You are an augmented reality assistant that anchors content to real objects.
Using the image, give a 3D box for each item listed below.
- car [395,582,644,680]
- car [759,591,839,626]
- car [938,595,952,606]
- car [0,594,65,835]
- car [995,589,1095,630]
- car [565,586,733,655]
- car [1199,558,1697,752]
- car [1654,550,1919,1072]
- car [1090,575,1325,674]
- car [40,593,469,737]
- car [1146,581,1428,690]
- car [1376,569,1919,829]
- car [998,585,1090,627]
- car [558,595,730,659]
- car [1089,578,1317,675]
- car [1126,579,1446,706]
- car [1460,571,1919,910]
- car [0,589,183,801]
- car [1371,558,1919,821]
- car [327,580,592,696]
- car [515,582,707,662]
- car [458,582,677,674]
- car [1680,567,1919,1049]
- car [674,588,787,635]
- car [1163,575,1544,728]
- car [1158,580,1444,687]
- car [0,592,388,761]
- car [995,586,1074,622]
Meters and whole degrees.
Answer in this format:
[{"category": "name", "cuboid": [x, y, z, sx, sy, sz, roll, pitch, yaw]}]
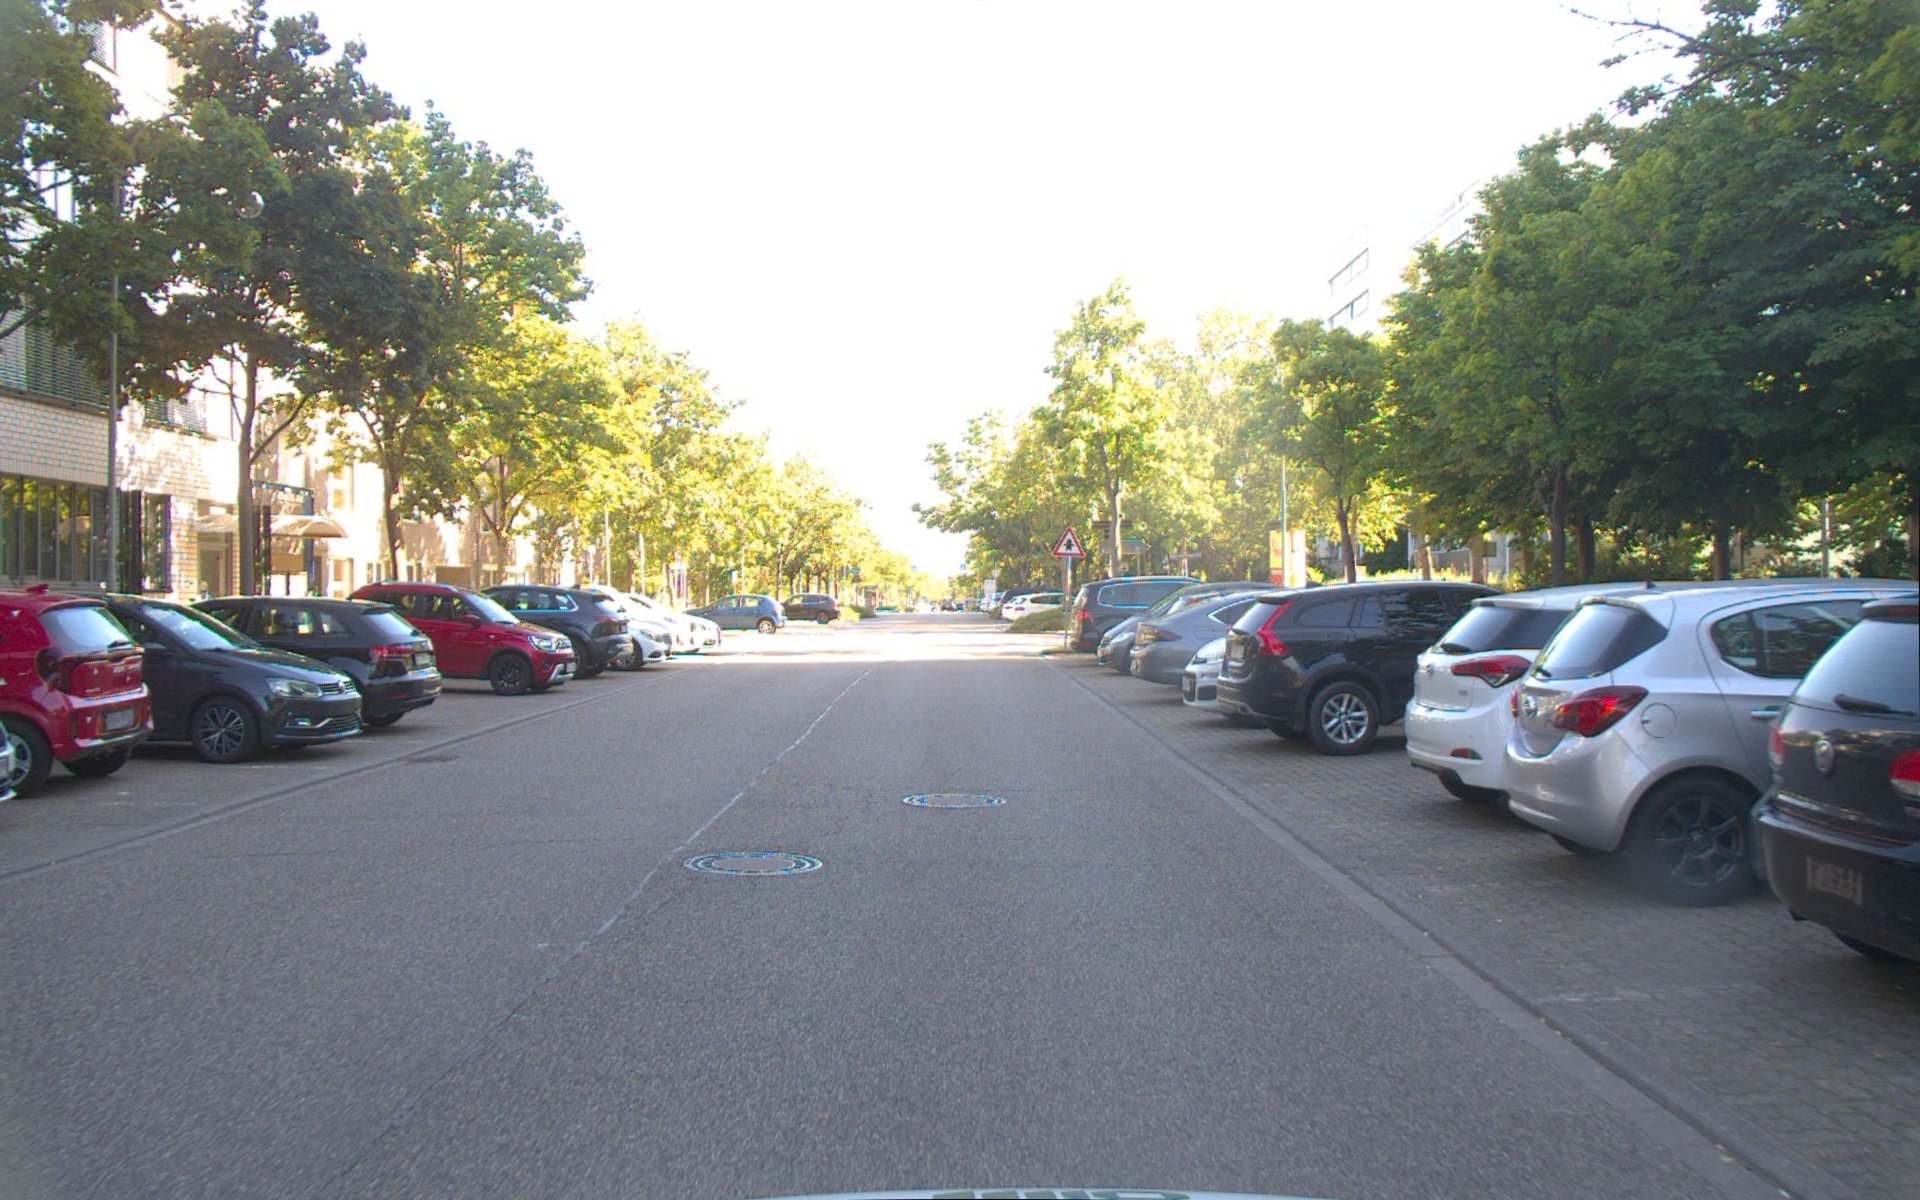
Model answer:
[{"category": "car", "cuboid": [-7.784, 0.554, 29.468, 3.904, 1.614, 1.765, -1, -1, 2]}, {"category": "car", "cuboid": [-8.186, 0.429, 84.480, 3.906, 1.713, 2.000, -1, 0, -1]}, {"category": "car", "cuboid": [-2.214, 0.082, 243.717, 1.894, 1.625, 4.365, -1, 0, -1]}, {"category": "car", "cuboid": [-7.896, 0.703, 10.177, 3.789, 1.482, 1.753, 1, 1, -4]}, {"category": "car", "cuboid": [3.491, 0.379, 68.422, 3.910, 1.653, 1.998, 0, 0, -6]}, {"category": "car", "cuboid": [-7.579, 0.486, 40.560, 3.815, 1.640, 1.857, 0, 0, -4]}, {"category": "car", "cuboid": [4.549, 0.489, 15.872, 4.163, 1.581, 1.919, -2, 0, -2]}, {"category": "car", "cuboid": [4.729, 0.561, 5.740, 3.803, 1.553, 1.895, -2, -1, -1]}, {"category": "car", "cuboid": [4.471, 0.433, 30.243, 3.964, 1.609, 1.640, -2, 0, -4]}, {"category": "car", "cuboid": [-7.507, 0.677, 17.886, 3.907, 1.431, 1.604, 1, 0, -3]}, {"category": "car", "cuboid": [4.958, 0.522, 25.361, 3.964, 1.479, 1.518, -2, 0, -4]}, {"category": "car", "cuboid": [4.893, 0.583, 11.047, 3.678, 1.474, 1.878, -2, 0, -4]}, {"category": "car", "cuboid": [3.771, 0.260, 74.450, 3.910, 1.823, 1.998, 0, 0, -6]}, {"category": "car", "cuboid": [-7.685, 0.645, 40.522, 3.907, 1.507, 1.679, 0, 0, -2]}, {"category": "car", "cuboid": [4.401, 0.456, 30.275, 3.816, 1.685, 1.856, 0, 0, -5]}, {"category": "car", "cuboid": [4.357, 0.556, 22.407, 3.964, 1.517, 1.549, -2, 0, -4]}, {"category": "car", "cuboid": [4.593, 0.613, 8.423, 3.561, 1.492, 1.633, -2, 0, -1]}, {"category": "car", "cuboid": [-7.994, 0.665, 12.603, 3.352, 1.488, 1.694, 1, 1, -6]}, {"category": "car", "cuboid": [4.857, 0.525, 10.865, 3.787, 1.493, 1.966, -1, 0, -1]}, {"category": "car", "cuboid": [-7.546, 0.574, 25.158, 3.467, 1.686, 1.761, 0, -1, 1]}, {"category": "car", "cuboid": [-7.889, 0.488, 37.674, 3.904, 1.683, 1.861, -1, 0, 2]}, {"category": "car", "cuboid": [-7.658, 0.526, 32.528, 3.906, 1.749, 1.708, 0, 0, -2]}, {"category": "car", "cuboid": [4.800, 0.585, 5.834, 3.663, 1.492, 1.911, -2, 0, 0]}, {"category": "car", "cuboid": [-8.224, 0.396, 59.548, 3.909, 1.559, 1.616, -1, 1, -5]}, {"category": "car", "cuboid": [4.457, 0.546, 18.962, 3.968, 1.619, 1.547, -1, 0, -8]}, {"category": "car", "cuboid": [5.195, 0.493, 25.461, 3.965, 1.446, 1.735, -2, 0, -5]}, {"category": "car", "cuboid": [-7.523, 0.664, 15.236, 3.907, 1.437, 1.665, 1, 0, -2]}, {"category": "car", "cuboid": [3.865, 0.195, 86.604, 3.910, 1.823, 1.998, 0, 0, -6]}]
